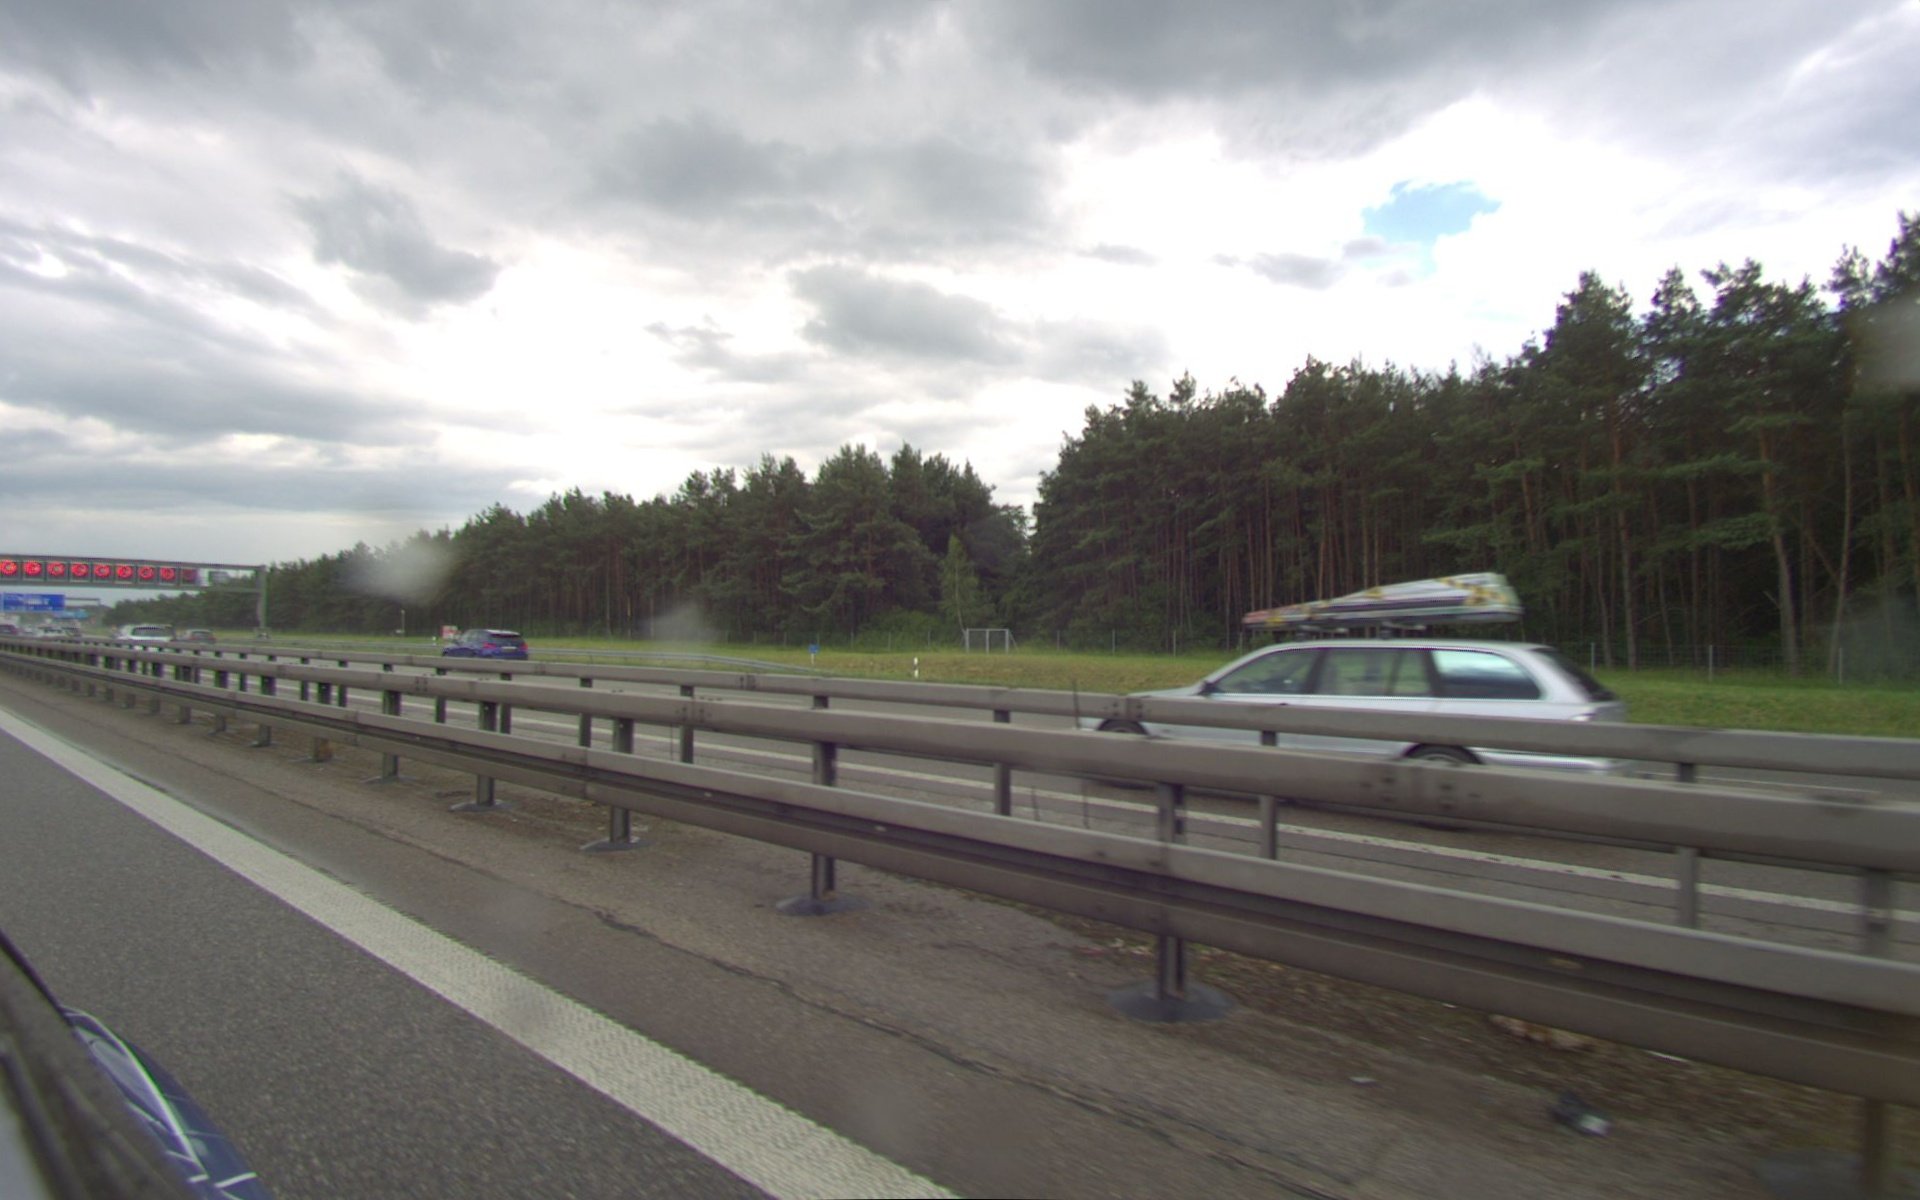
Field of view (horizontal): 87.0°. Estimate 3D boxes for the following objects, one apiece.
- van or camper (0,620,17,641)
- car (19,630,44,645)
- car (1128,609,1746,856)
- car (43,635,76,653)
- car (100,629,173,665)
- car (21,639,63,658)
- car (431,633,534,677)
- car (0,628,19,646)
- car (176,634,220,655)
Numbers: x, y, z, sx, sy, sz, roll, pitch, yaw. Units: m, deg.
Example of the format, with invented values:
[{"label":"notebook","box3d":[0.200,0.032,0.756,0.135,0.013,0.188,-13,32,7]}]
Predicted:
[{"label":"van or camper","box3d":[-144.534,4.626,153.066,7.546,3.137,2.275,-3,-4,45]},{"label":"car","box3d":[-101.602,4.107,110.761,3.954,1.591,1.733,-2,-2,44]},{"label":"car","box3d":[3.778,0.903,8.526,4.400,1.559,1.766,-1,-2,41]},{"label":"car","box3d":[-79.500,3.870,89.359,3.846,1.591,1.734,-1,-2,42]},{"label":"car","box3d":[-33.693,1.880,41.381,3.998,1.386,1.675,-1,-2,41]},{"label":"car","box3d":[-62.440,3.270,68.806,4.060,1.270,1.676,-2,-3,42]},{"label":"car","box3d":[-18.345,2.097,38.828,4.511,1.559,1.880,-1,-4,41]},{"label":"car","box3d":[-87.807,3.389,92.893,3.722,1.554,1.770,-2,-3,43]},{"label":"car","box3d":[-55.211,3.200,73.289,4.182,1.406,1.705,-1,-4,42]}]
